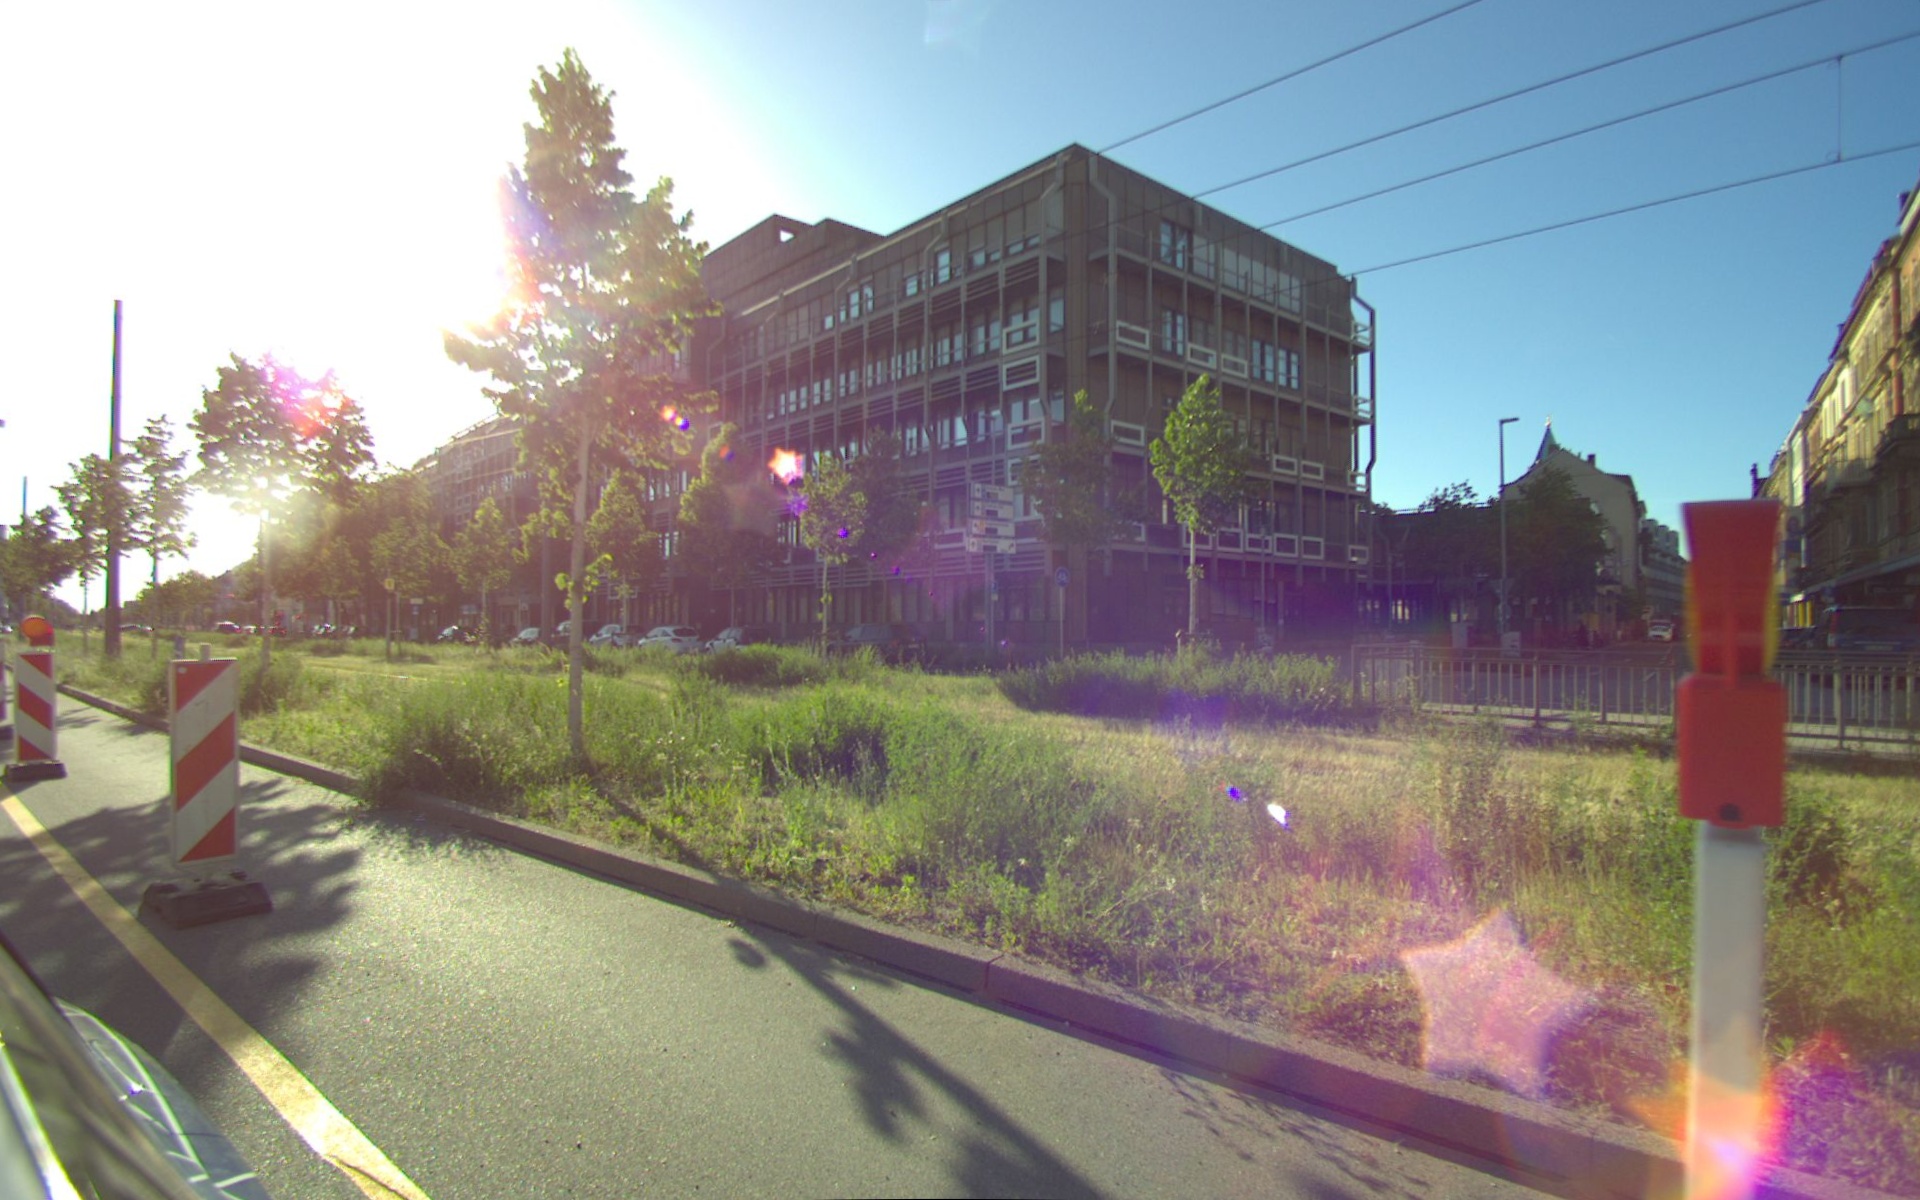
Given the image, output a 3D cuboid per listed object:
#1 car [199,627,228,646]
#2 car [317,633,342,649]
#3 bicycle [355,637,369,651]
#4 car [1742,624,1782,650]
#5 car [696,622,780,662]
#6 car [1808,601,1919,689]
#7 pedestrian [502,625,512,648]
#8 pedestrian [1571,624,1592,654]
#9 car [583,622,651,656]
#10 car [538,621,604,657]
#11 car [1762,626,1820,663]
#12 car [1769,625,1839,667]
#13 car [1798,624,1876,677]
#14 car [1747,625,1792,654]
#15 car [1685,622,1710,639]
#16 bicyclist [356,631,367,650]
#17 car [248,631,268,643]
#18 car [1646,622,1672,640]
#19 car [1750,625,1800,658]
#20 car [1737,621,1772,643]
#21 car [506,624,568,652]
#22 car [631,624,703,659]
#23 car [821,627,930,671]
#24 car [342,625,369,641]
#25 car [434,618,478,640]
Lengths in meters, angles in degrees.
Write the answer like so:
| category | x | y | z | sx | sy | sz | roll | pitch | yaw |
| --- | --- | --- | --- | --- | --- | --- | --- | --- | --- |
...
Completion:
| category | x | y | z | sx | sy | sz | roll | pitch | yaw |
| --- | --- | --- | --- | --- | --- | --- | --- | --- | --- |
| car | -72.207 | 3.498 | 97.883 | 1.708 | 1.760 | 4.123 | 1 | -2 | -45 |
| car | -71.667 | 4.631 | 115.075 | 1.701 | 1.614 | 3.634 | -1 | -3 | -43 |
| bicycle | -48.548 | 3.589 | 82.136 | 0.558 | 1.105 | 1.772 | 3 | -3 | -44 |
| car | 45.740 | 2.107 | 57.763 | 1.596 | 1.420 | 3.322 | -1 | -2 | 35 |
| car | -9.238 | 1.720 | 41.884 | 1.629 | 1.566 | 3.970 | 1 | -2 | -42 |
| car | 21.970 | 1.056 | 24.405 | 1.894 | 1.918 | 4.470 | -1 | -2 | 35 |
| pedestrian | -31.740 | 2.583 | 70.952 | 0.514 | 1.590 | 0.537 | 2 | -3 | -39 |
| pedestrian | 31.481 | 1.969 | 51.246 | 0.608 | 1.527 | 0.737 | 2 | -2 | -43 |
| car | -16.848 | 1.909 | 49.572 | 1.717 | 1.548 | 3.888 | 0 | -2 | -43 |
| car | -20.433 | 2.025 | 53.116 | 1.730 | 1.785 | 4.335 | 0 | -1 | -43 |
| car | 32.852 | 1.747 | 40.061 | 1.482 | 1.420 | 3.026 | -1 | -2 | 35 |
| car | 29.710 | 1.606 | 35.698 | 1.577 | 1.420 | 3.026 | -1 | -2 | 35 |
| car | 25.675 | 1.447 | 29.706 | 1.381 | 1.479 | 3.117 | -1 | -2 | 35 |
| car | 39.749 | 1.924 | 49.742 | 1.501 | 1.420 | 3.011 | -1 | -2 | 35 |
| car | 73.021 | 3.011 | 100.234 | 1.865 | 1.652 | 3.951 | -1 | -2 | 36 |
| bicyclist | -48.596 | 3.290 | 82.193 | 0.558 | 1.468 | 0.706 | 3 | -3 | -44 |
| car | -89.454 | 4.693 | 128.889 | 1.607 | 1.507 | 4.423 | 2 | -3 | -41 |
| car | 63.266 | 2.830 | 91.573 | 1.854 | 1.586 | 3.952 | -1 | -2 | 35 |
| car | 36.260 | 1.844 | 45.084 | 1.482 | 1.420 | 3.026 | -1 | -2 | 35 |
| car | 51.059 | 2.039 | 65.108 | 1.569 | 1.389 | 3.651 | -2 | -2 | 36 |
| car | -23.939 | 2.123 | 57.173 | 1.709 | 1.480 | 4.508 | -1 | -1 | -44 |
| car | -13.254 | 1.855 | 45.682 | 1.605 | 1.452 | 3.823 | 0 | -1 | -43 |
| car | -3.032 | 1.678 | 35.782 | 3.900 | 1.472 | 1.711 | -1 | -2 | 43 |
| car | -63.825 | 3.472 | 106.895 | 1.701 | 1.555 | 3.635 | -1 | -1 | -43 |
| car | -34.059 | 1.949 | 68.344 | 1.695 | 1.397 | 4.045 | -2 | 0 | -41 |
